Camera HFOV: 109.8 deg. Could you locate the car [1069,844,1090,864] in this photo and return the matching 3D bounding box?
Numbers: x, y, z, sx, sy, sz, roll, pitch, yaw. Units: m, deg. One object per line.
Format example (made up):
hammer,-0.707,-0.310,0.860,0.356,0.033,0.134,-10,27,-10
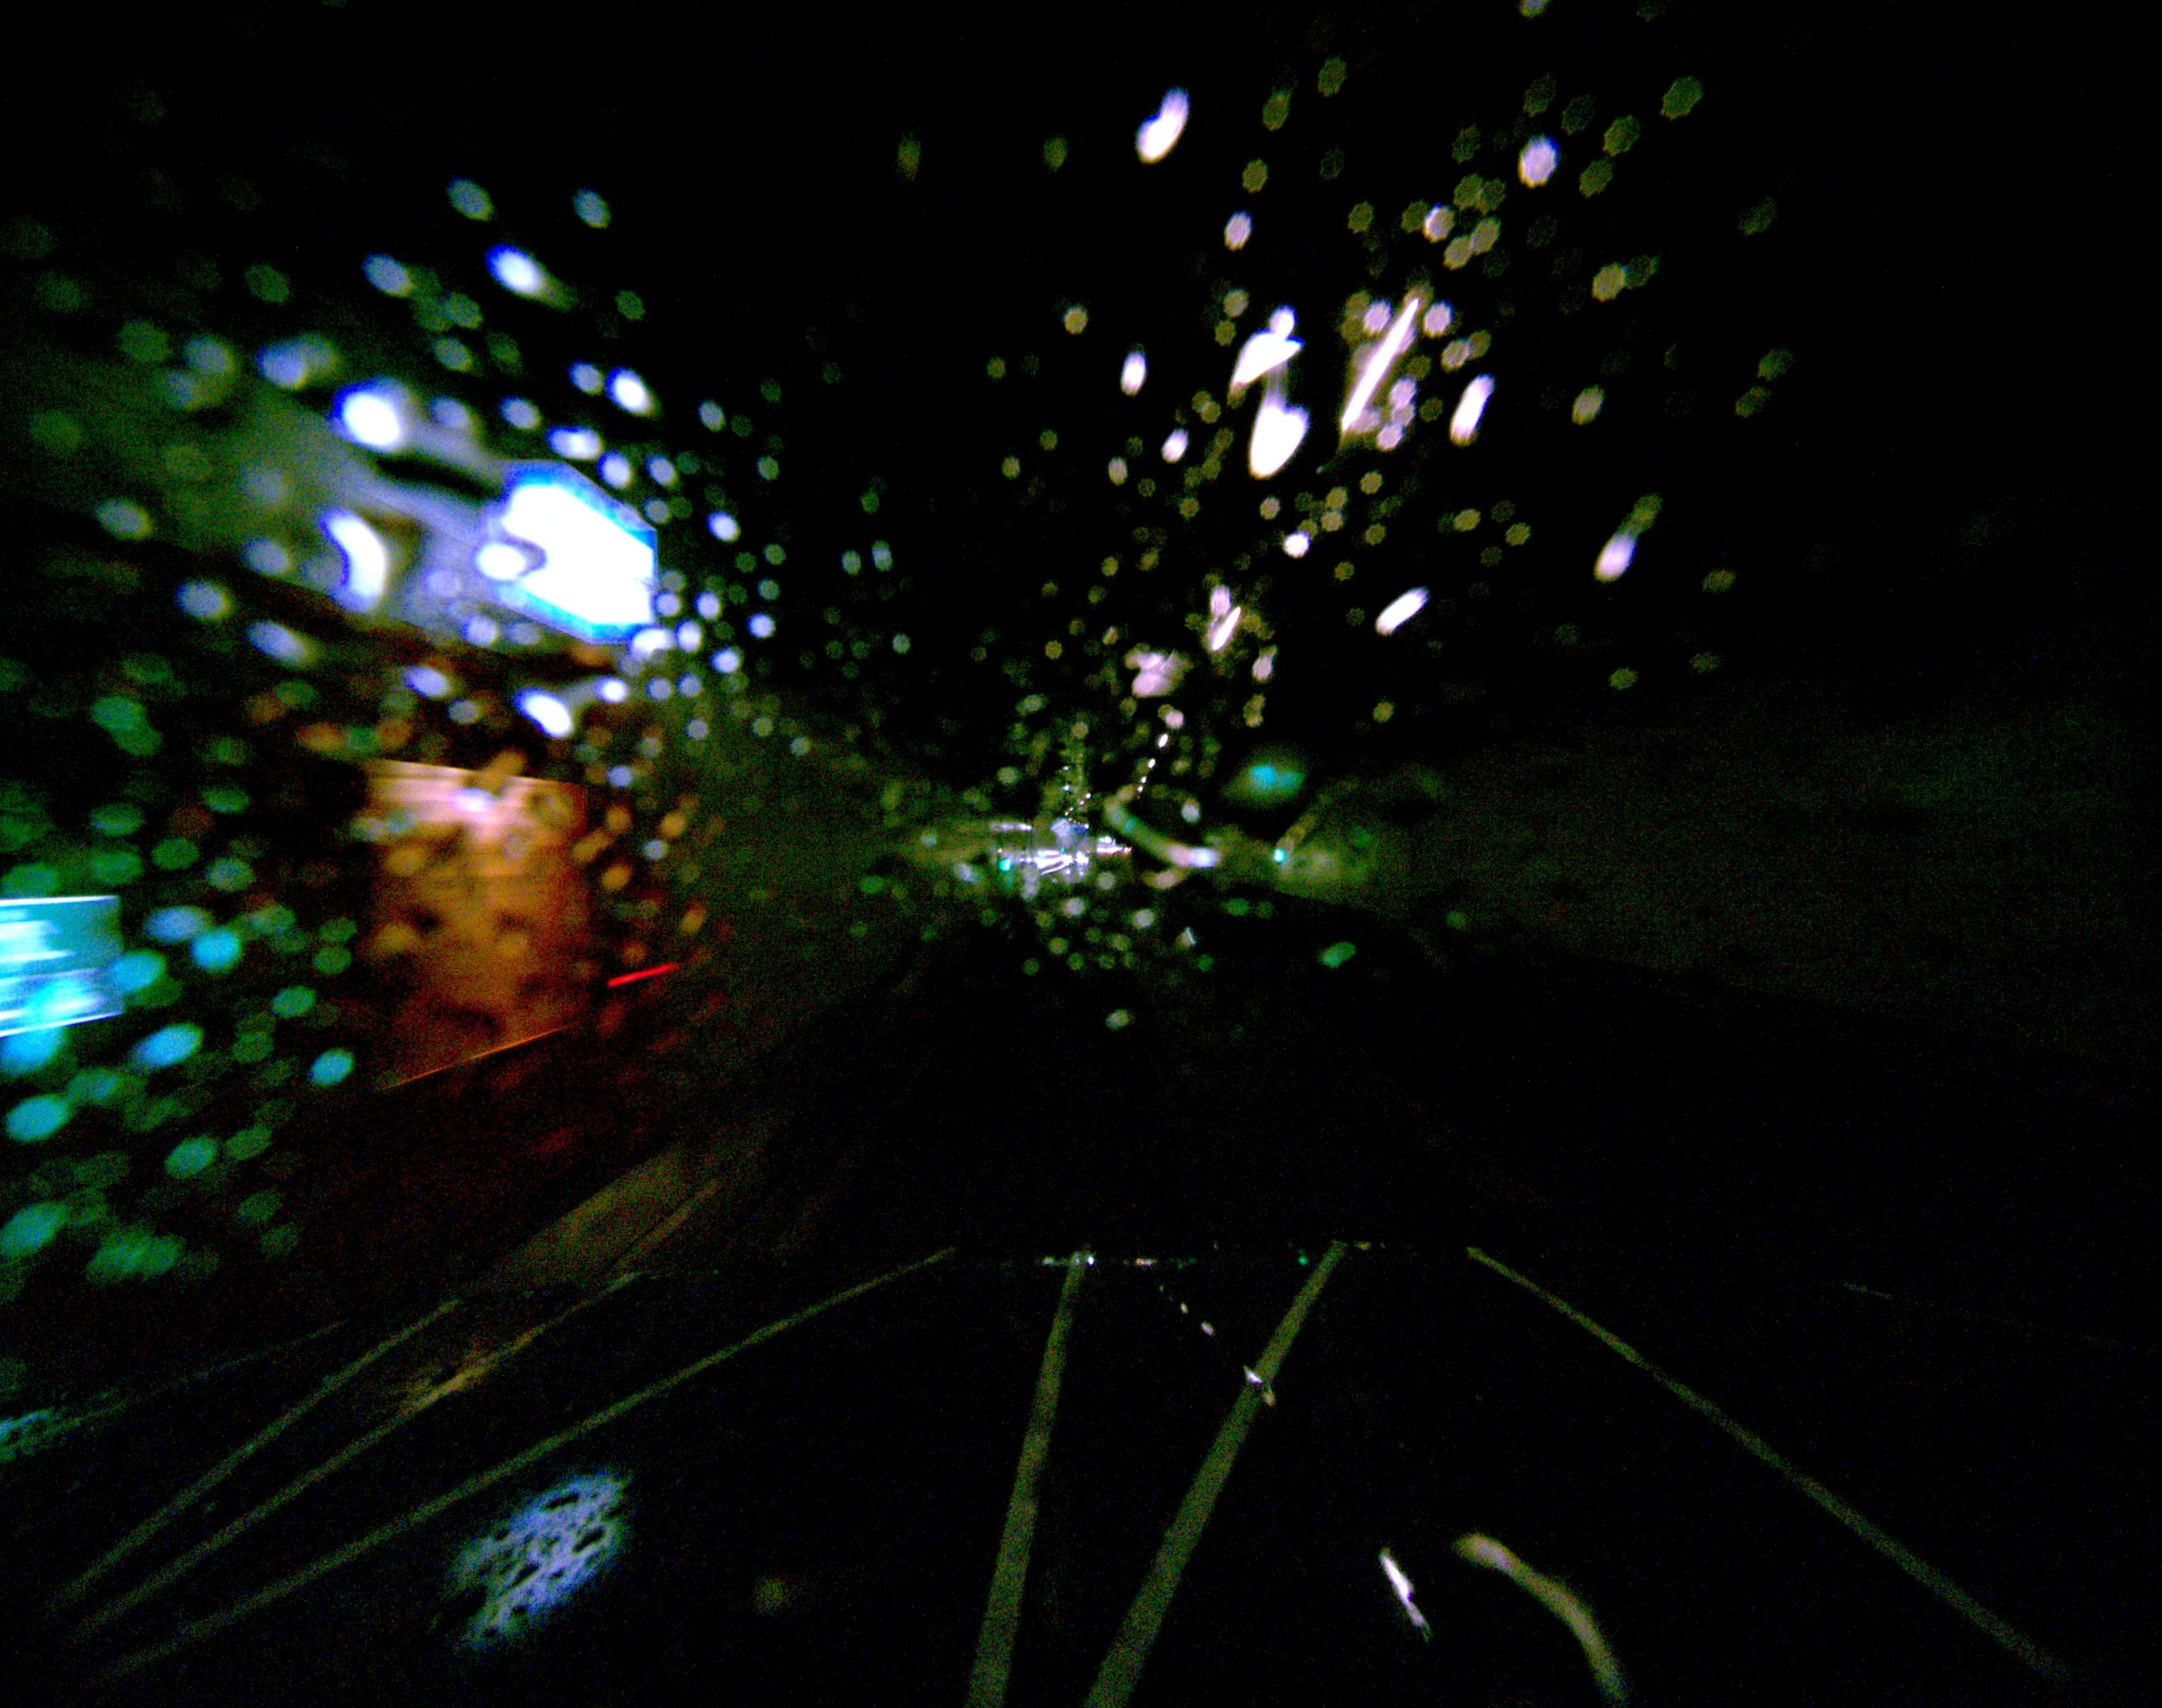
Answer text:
car,-0.116,-0.031,85.354,2.030,2.017,4.425,-4,1,3
